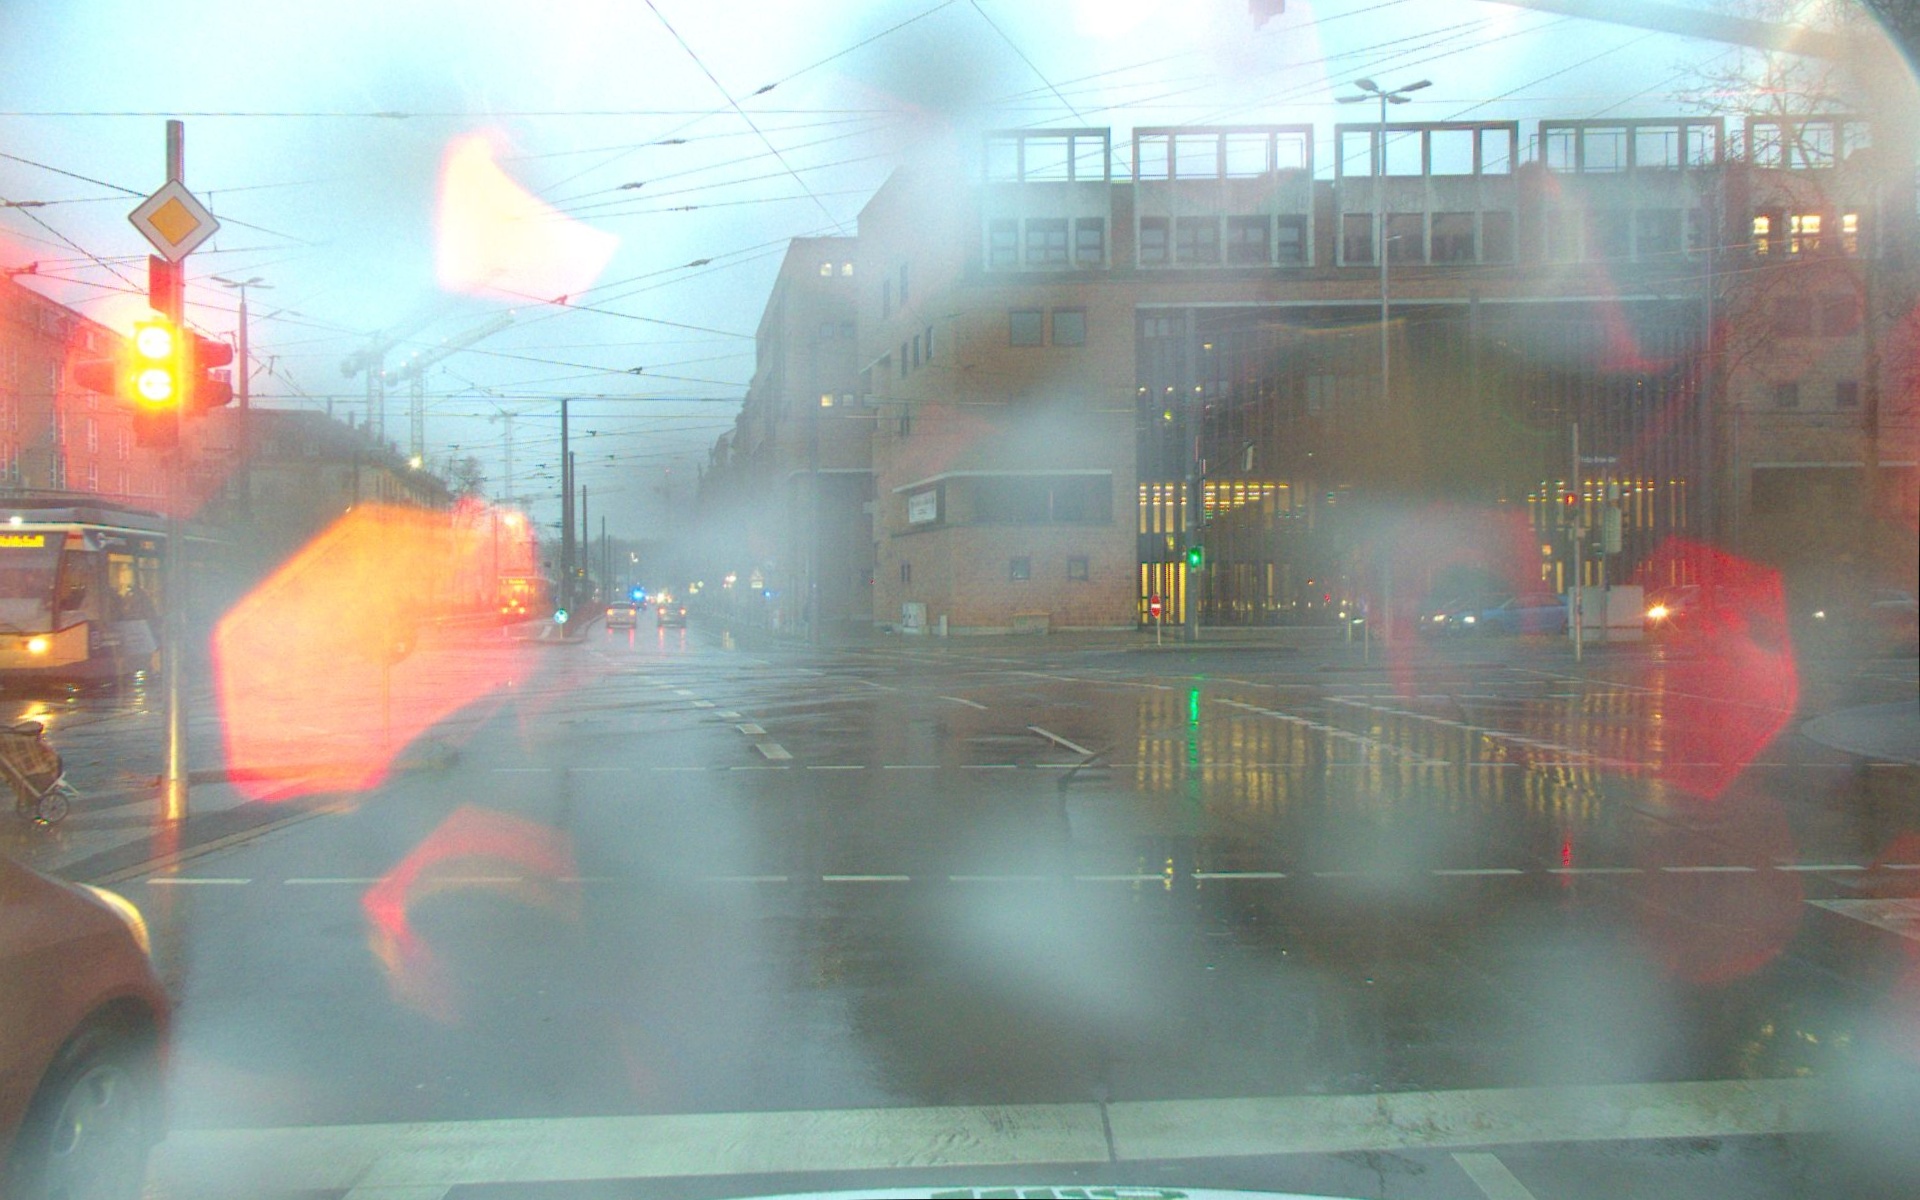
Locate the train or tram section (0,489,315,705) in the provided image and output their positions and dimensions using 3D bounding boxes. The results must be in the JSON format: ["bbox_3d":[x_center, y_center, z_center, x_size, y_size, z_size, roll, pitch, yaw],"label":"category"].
[{"bbox_3d":[-18.432,-0.046,38.014,2.813,3.677,20.021,-1,0,-10],"label":"train or tram section"}]

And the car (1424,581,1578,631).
[{"bbox_3d":[15.953,0.154,48.862,3.910,1.284,1.846,-1,4,-7],"label":"car"}]

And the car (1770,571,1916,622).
[{"bbox_3d":[29.305,-0.142,54.949,3.910,1.530,1.846,-1,4,-7],"label":"car"}]

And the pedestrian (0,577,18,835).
[{"bbox_3d":[-6.616,0.693,10.353,0.703,1.629,1.031,-3,-1,40],"label":"pedestrian"}]

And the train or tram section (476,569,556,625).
[{"bbox_3d":[-31.134,-0.207,117.291,3.133,3.496,27.760,-1,0,-10],"label":"train or tram section"}]

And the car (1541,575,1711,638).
[{"bbox_3d":[18.208,0.157,45.319,3.910,1.530,1.846,-1,4,-7],"label":"car"}]

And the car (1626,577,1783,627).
[{"bbox_3d":[22.324,0.037,49.671,3.910,1.310,1.846,-1,4,-7],"label":"car"}]

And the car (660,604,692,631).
[{"bbox_3d":[-17.959,1.076,104.787,1.836,1.606,3.992,2,0,-9],"label":"car"}]

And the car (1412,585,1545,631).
[{"bbox_3d":[16.576,0.256,52.958,3.649,1.284,1.846,-1,4,-7],"label":"car"}]

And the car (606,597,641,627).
[{"bbox_3d":[-19.568,0.698,96.301,1.837,1.606,3.990,2,0,-10],"label":"car"}]

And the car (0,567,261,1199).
[{"bbox_3d":[-2.589,0.695,2.278,1.663,1.485,3.757,-1,0,0],"label":"car"}]

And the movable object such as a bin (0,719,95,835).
[{"bbox_3d":[-6.122,1.165,10.996,0.405,0.711,0.535,-3,-2,40],"label":"movable object such as a bin"}]
